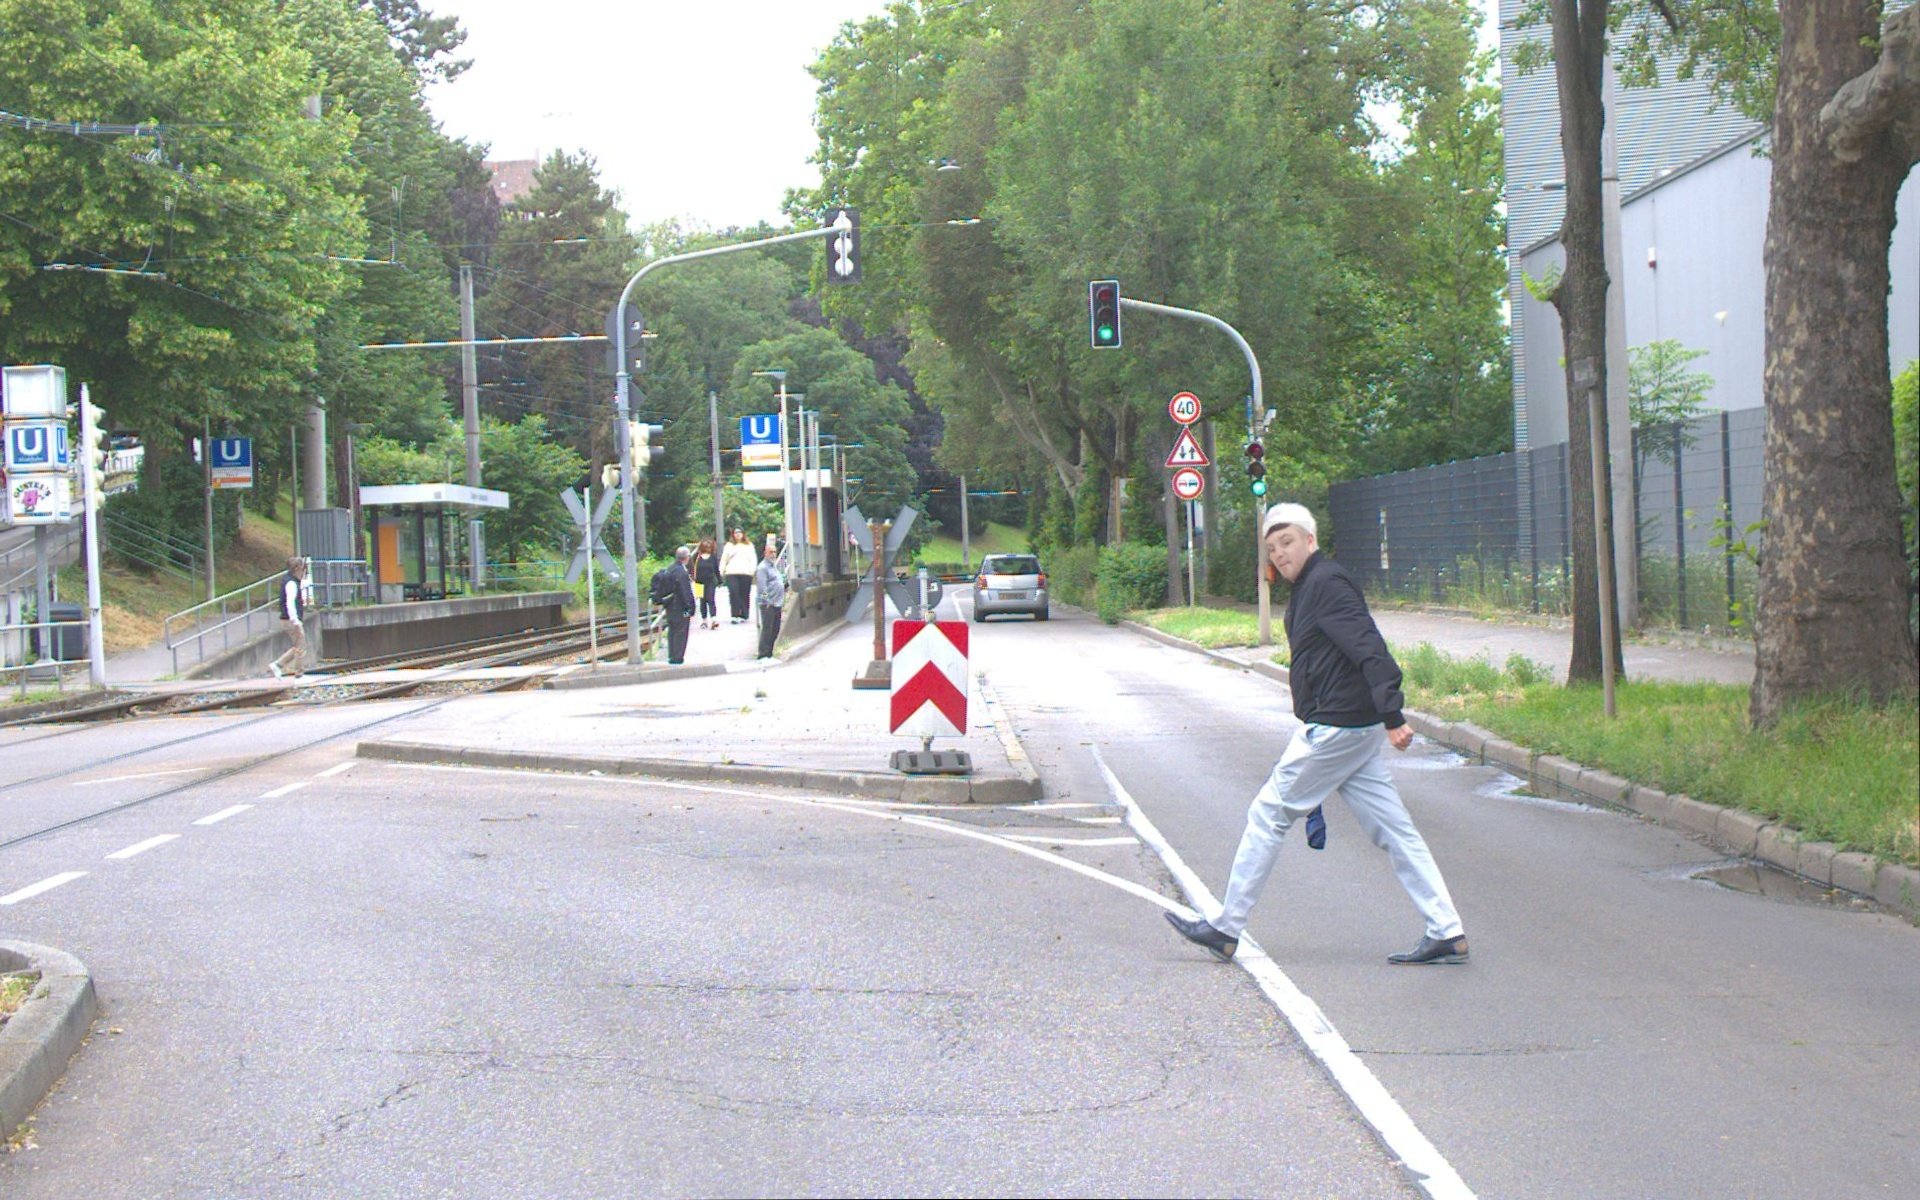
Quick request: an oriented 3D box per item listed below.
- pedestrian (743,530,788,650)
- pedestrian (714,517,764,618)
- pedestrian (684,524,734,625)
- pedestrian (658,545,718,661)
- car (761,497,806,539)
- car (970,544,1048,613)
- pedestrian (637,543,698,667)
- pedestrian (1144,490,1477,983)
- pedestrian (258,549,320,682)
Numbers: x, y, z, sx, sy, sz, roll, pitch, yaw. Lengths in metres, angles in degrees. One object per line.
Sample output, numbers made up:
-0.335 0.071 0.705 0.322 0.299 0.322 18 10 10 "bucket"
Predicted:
-2.865 -0.155 50.791 0.550 1.752 0.737 1 0 4 "pedestrian"
-3.698 -0.544 57.609 0.735 1.659 0.682 1 0 -11 "pedestrian"
-4.146 -0.423 56.712 0.735 1.659 0.682 1 0 -11 "pedestrian"
-3.930 0.034 49.751 0.680 1.659 0.737 1 0 10 "pedestrian"
-8.598 -3.992 167.846 1.993 2.007 4.000 1 1 -1 "car"
1.146 -0.499 82.539 1.743 1.593 4.000 1 0 -1 "car"
-3.996 0.064 46.967 0.735 1.659 0.682 1 0 1 "pedestrian"
1.315 0.481 12.788 1.118 1.754 0.813 1 0 14 "pedestrian"
-9.272 0.212 47.534 0.802 1.815 0.671 1 0 -10 "pedestrian"
